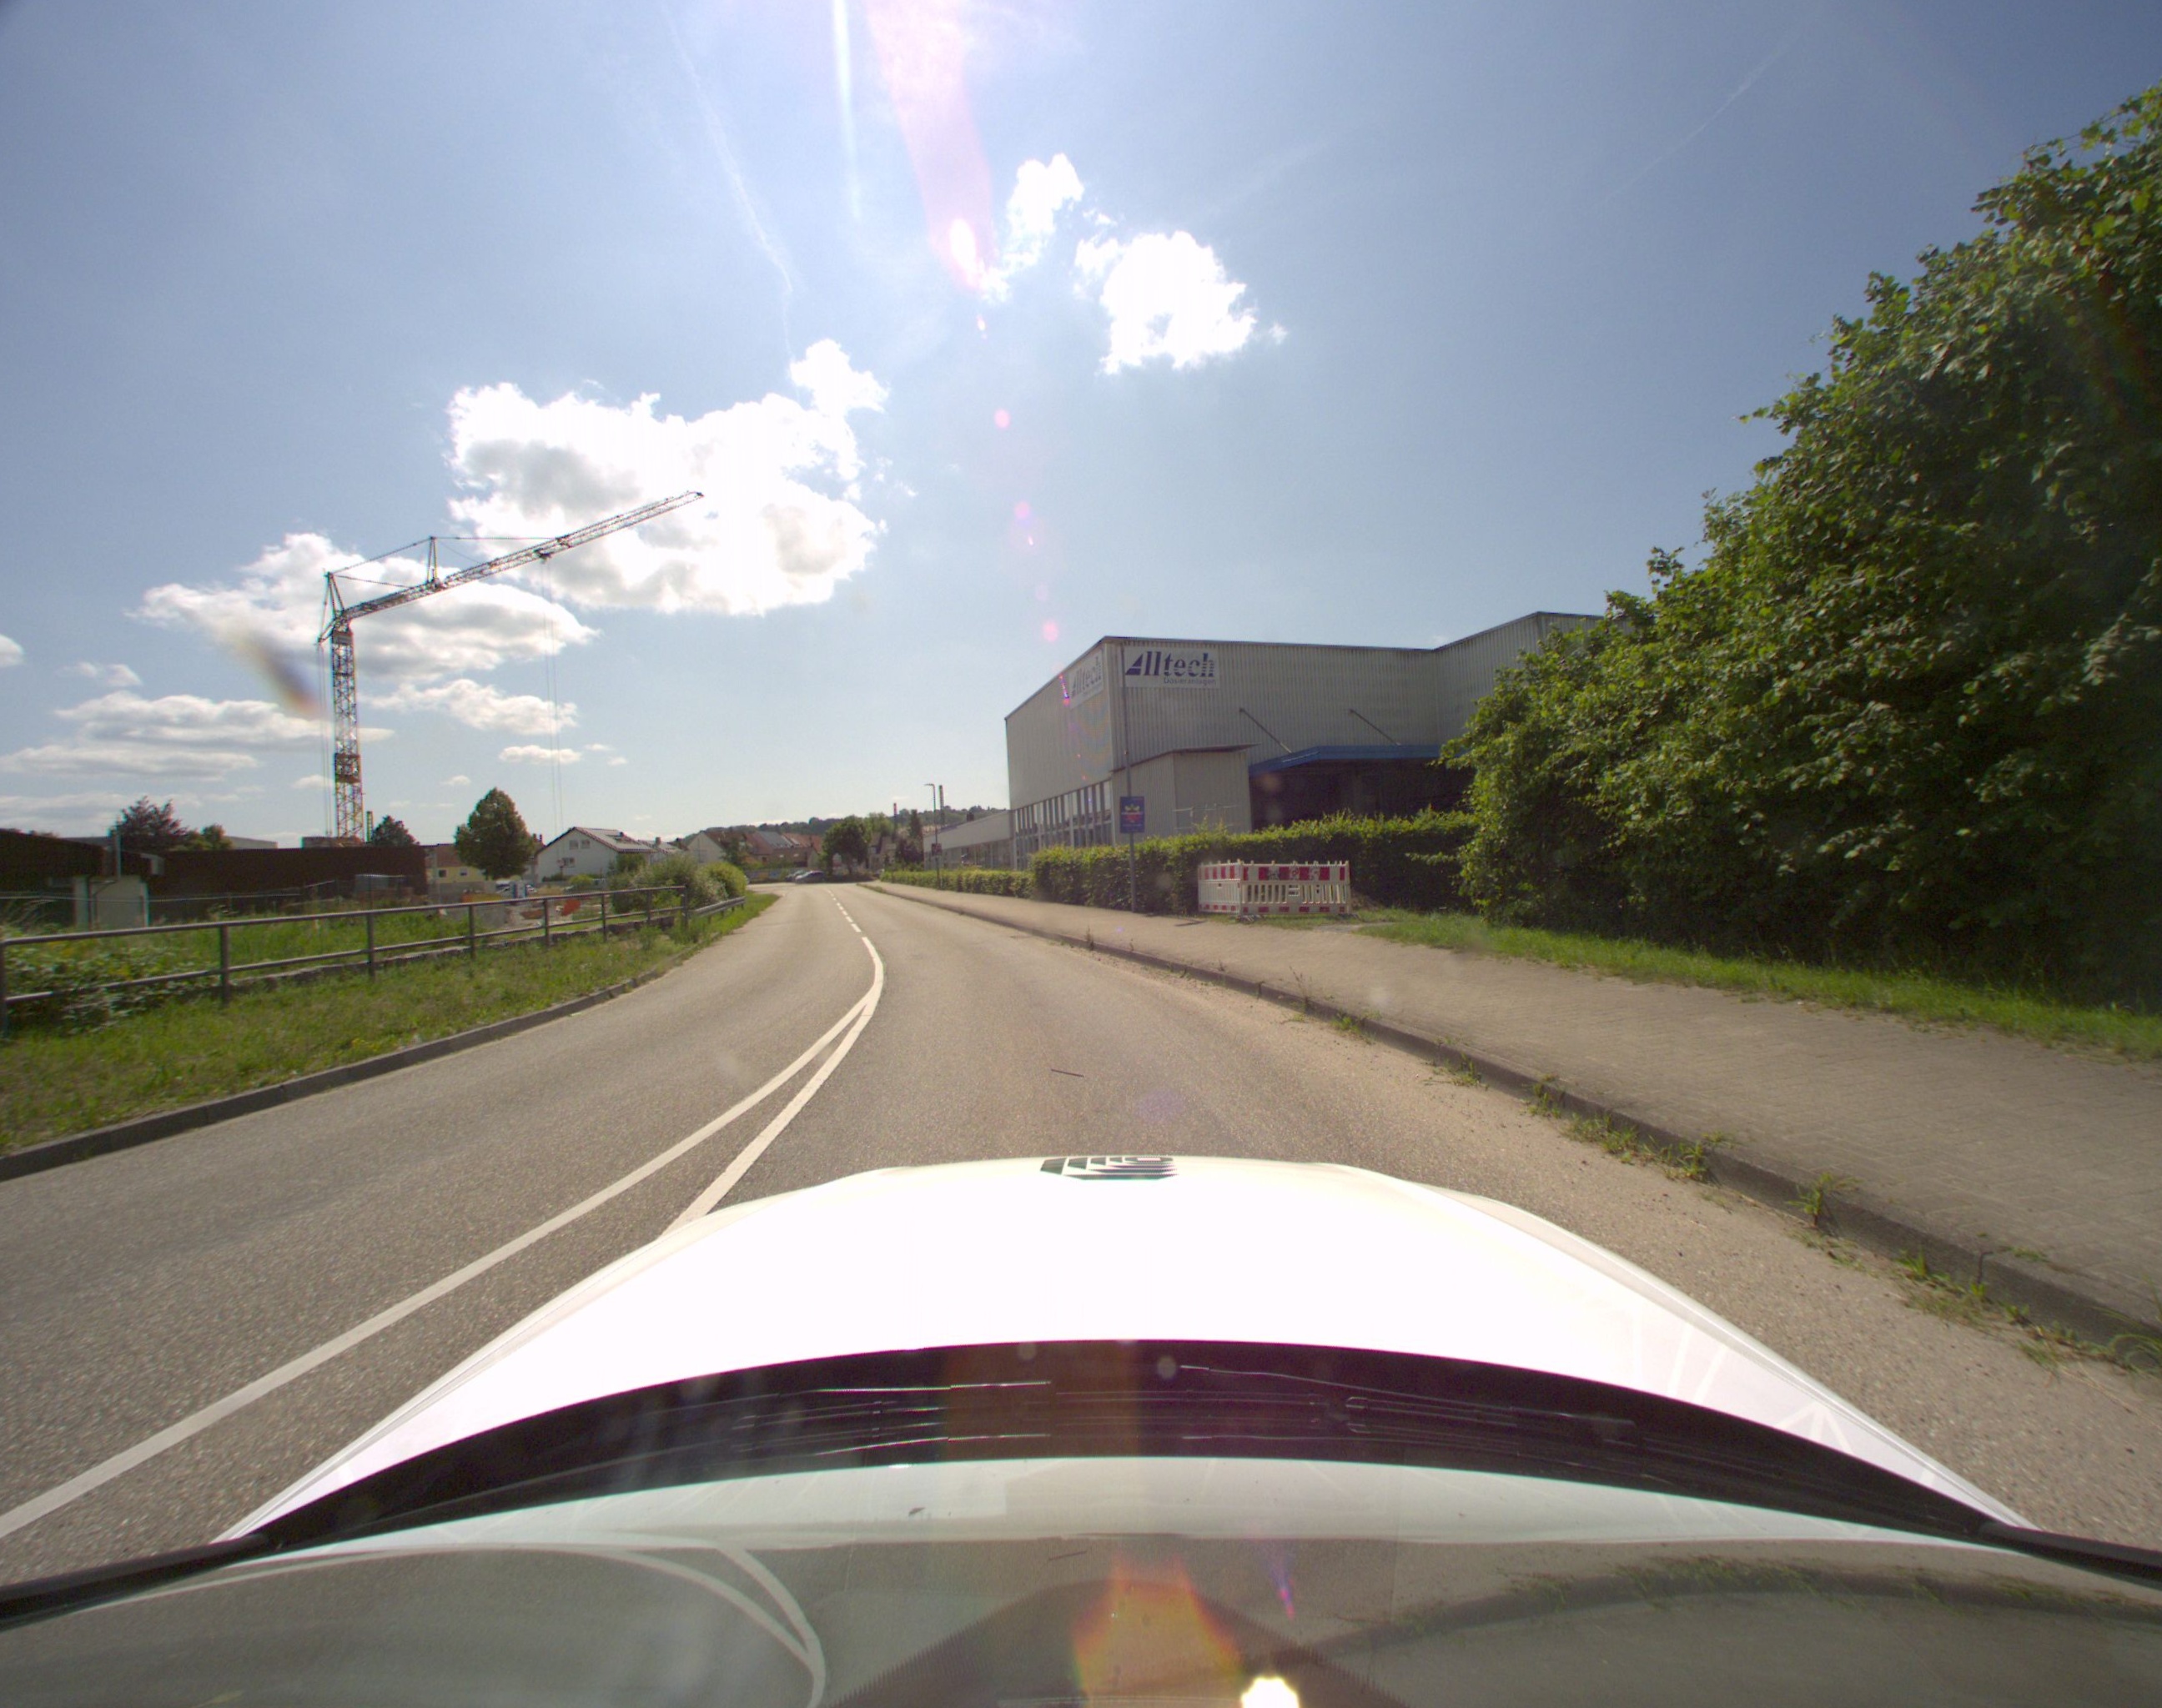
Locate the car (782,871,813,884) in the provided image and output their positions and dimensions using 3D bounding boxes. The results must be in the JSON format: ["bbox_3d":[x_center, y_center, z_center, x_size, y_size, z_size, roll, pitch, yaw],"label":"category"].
[{"bbox_3d":[-39.998,3.310,114.918,4.010,1.730,1.754,-1,-2,-29],"label":"car"}]

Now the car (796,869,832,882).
[{"bbox_3d":[-35.615,2.855,108.633,4.211,1.463,1.649,-2,-1,-28],"label":"car"}]

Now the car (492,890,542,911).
[{"bbox_3d":[-65.109,5.333,94.079,4.438,2.013,1.975,-3,-1,-44],"label":"car"}]
